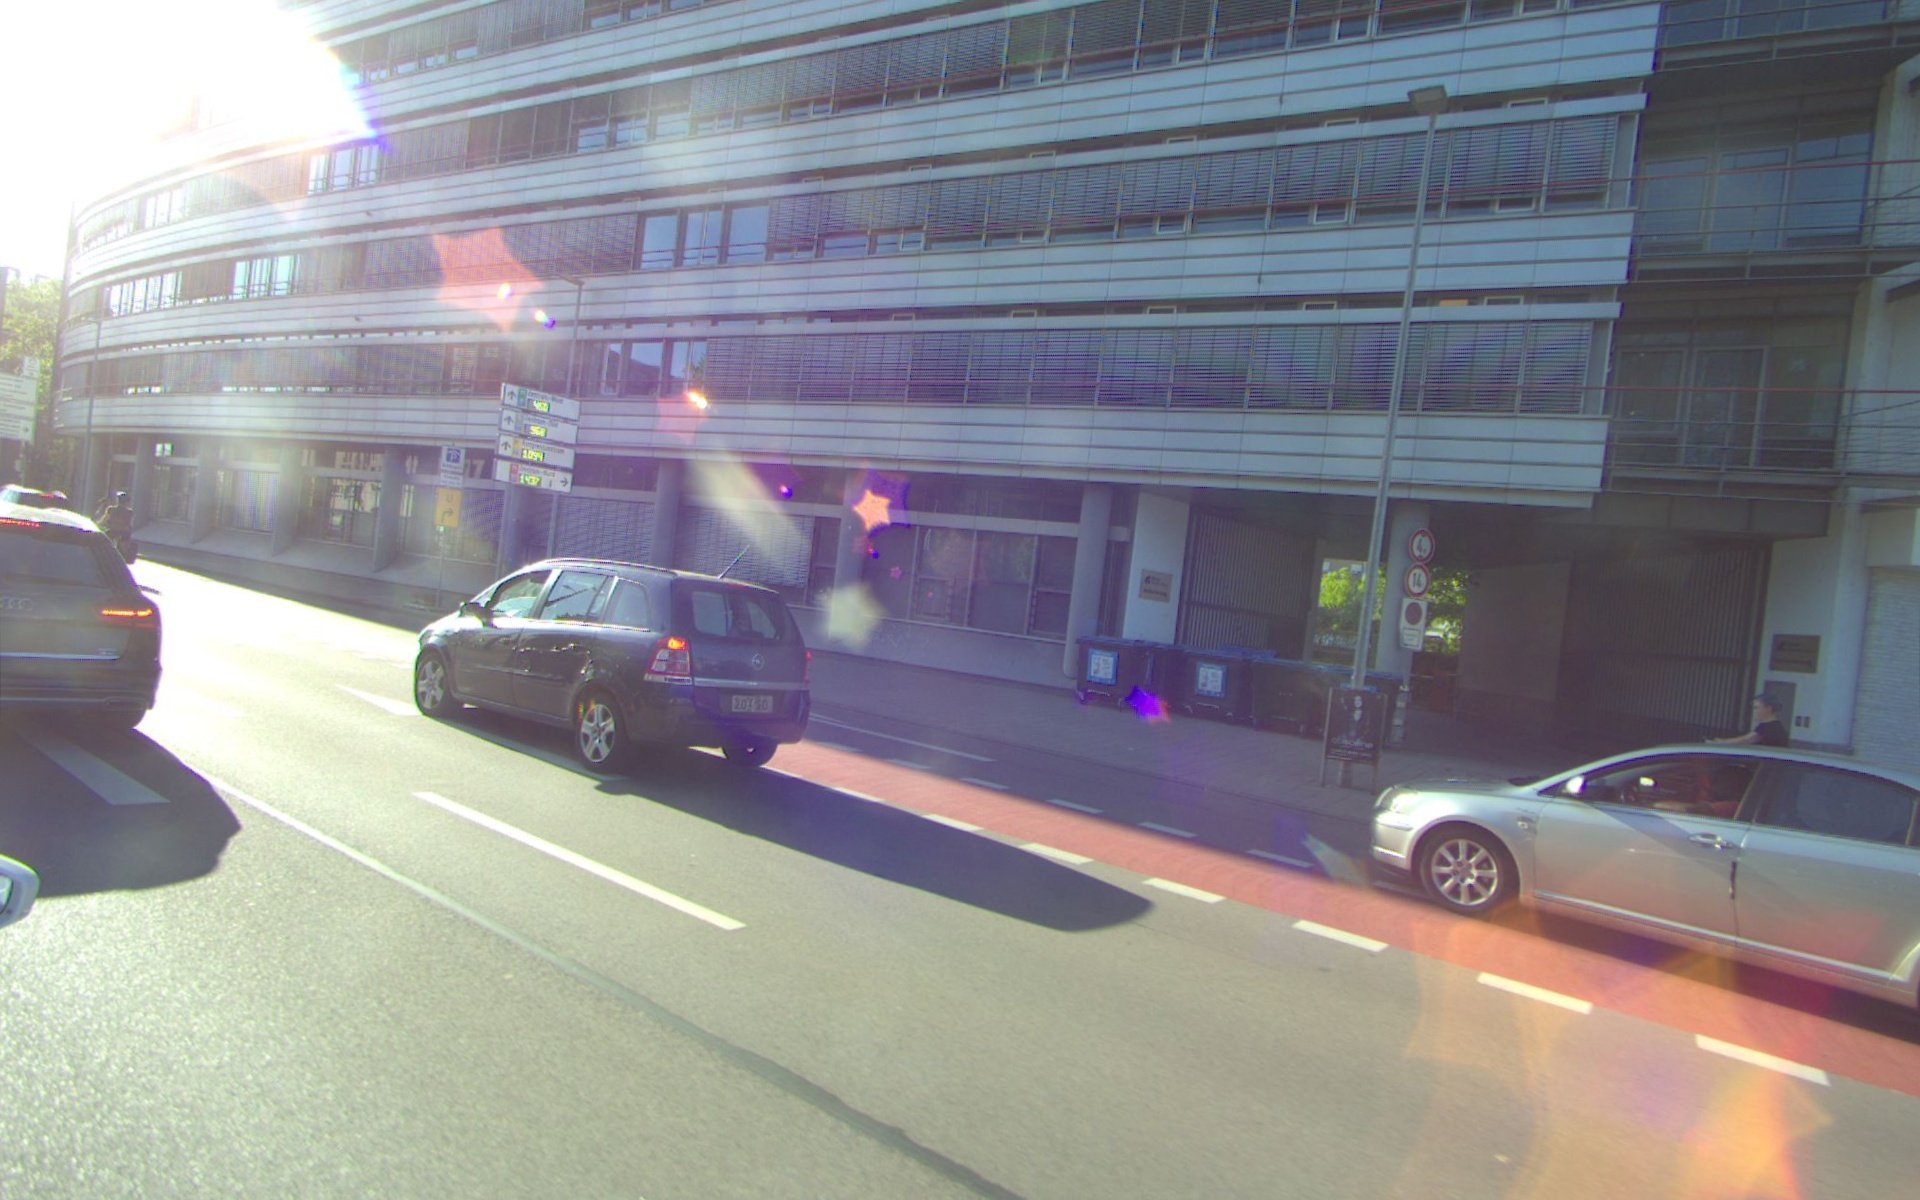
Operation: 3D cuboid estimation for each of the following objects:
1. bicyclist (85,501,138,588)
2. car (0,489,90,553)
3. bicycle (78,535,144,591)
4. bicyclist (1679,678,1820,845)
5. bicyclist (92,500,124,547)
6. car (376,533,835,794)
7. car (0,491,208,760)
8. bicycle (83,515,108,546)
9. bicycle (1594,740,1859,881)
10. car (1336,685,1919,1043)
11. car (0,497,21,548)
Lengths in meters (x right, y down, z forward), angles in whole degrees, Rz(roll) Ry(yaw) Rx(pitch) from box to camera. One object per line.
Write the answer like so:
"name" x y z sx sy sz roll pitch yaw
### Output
"bicyclist" -18.801 -1.235 22.302 0.850 1.813 0.577 7 1 36
"car" -31.289 -2.707 33.721 4.258 1.771 1.995 7 0 33
"bicycle" -18.812 -0.832 22.275 2.291 1.010 0.492 7 0 35
"bicyclist" 8.528 1.714 10.888 1.028 1.586 0.624 7 0 40
"bicyclist" -31.956 -2.858 37.715 0.978 1.638 0.682 7 1 42
"car" -3.380 0.435 9.157 4.395 1.649 1.688 6 0 37
"car" -7.173 -0.050 6.960 4.426 1.509 1.813 7 -2 36
"bicycle" -32.066 -2.583 37.305 1.679 1.072 0.503 6 2 43
"bicycle" 8.311 2.242 11.013 2.175 1.045 0.498 6 0 41
"car" 5.059 1.635 6.590 1.747 1.447 4.434 9 -2 -43
"car" -35.078 -2.919 35.642 3.940 1.671 1.993 7 0 38
